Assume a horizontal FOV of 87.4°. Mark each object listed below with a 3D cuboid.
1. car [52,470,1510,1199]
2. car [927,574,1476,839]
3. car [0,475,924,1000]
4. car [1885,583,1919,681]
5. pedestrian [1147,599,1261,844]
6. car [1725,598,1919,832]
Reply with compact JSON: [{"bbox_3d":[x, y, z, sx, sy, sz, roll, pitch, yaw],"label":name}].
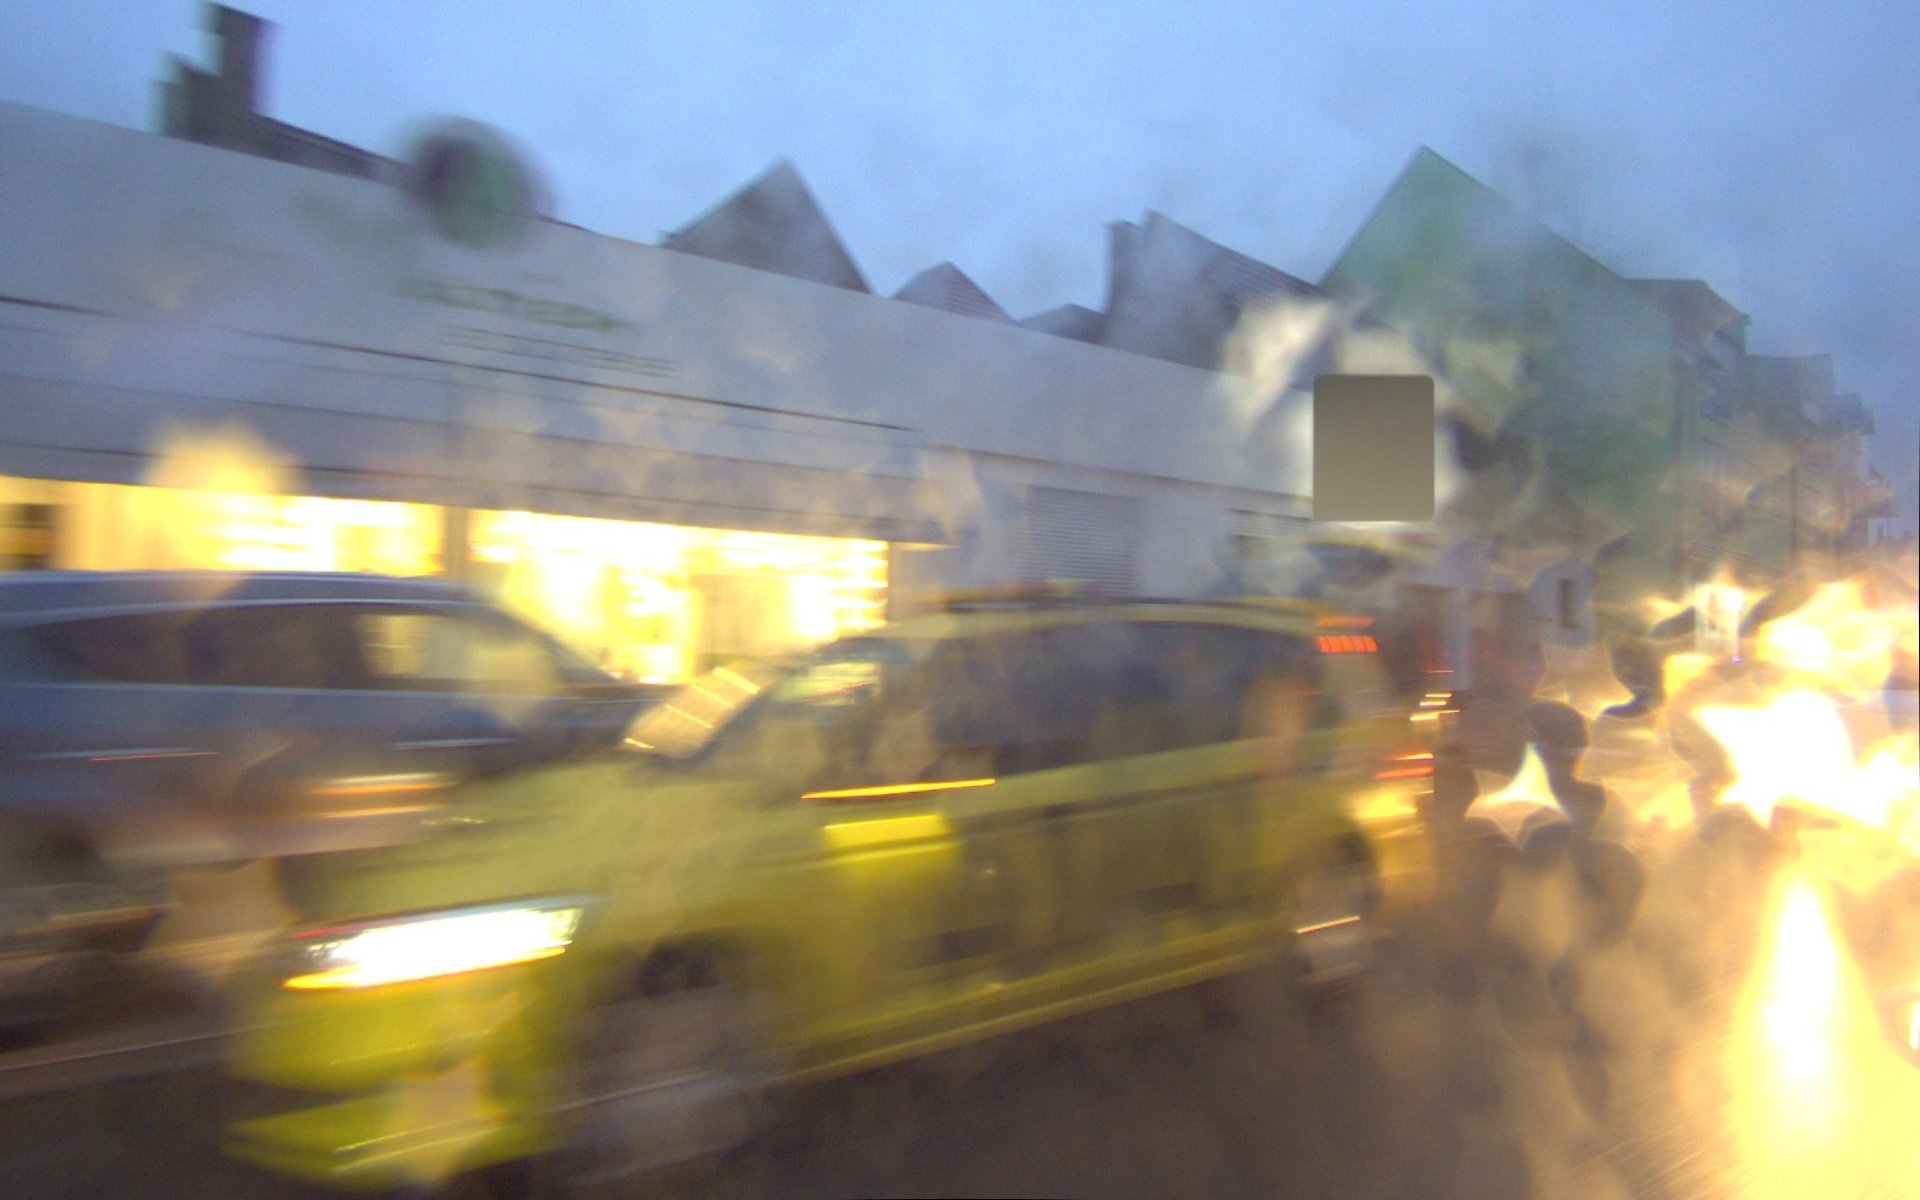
[{"bbox_3d":[-0.116,0.605,4.007,4.914,1.729,1.981,0,2,-34],"label":"car"},{"bbox_3d":[2.201,0.752,8.631,4.661,1.733,1.870,2,0,-33],"label":"car"},{"bbox_3d":[-2.821,0.495,5.118,4.975,1.816,2.071,1,0,-36],"label":"car"},{"bbox_3d":[28.507,0.982,28.385,6.703,2.594,2.466,3,-1,-39],"label":"car"},{"bbox_3d":[1.685,0.798,6.959,0.570,1.606,0.525,0,0,-34],"label":"pedestrian"},{"bbox_3d":[8.415,0.797,8.437,4.371,1.567,1.939,-2,-1,-35],"label":"car"}]
